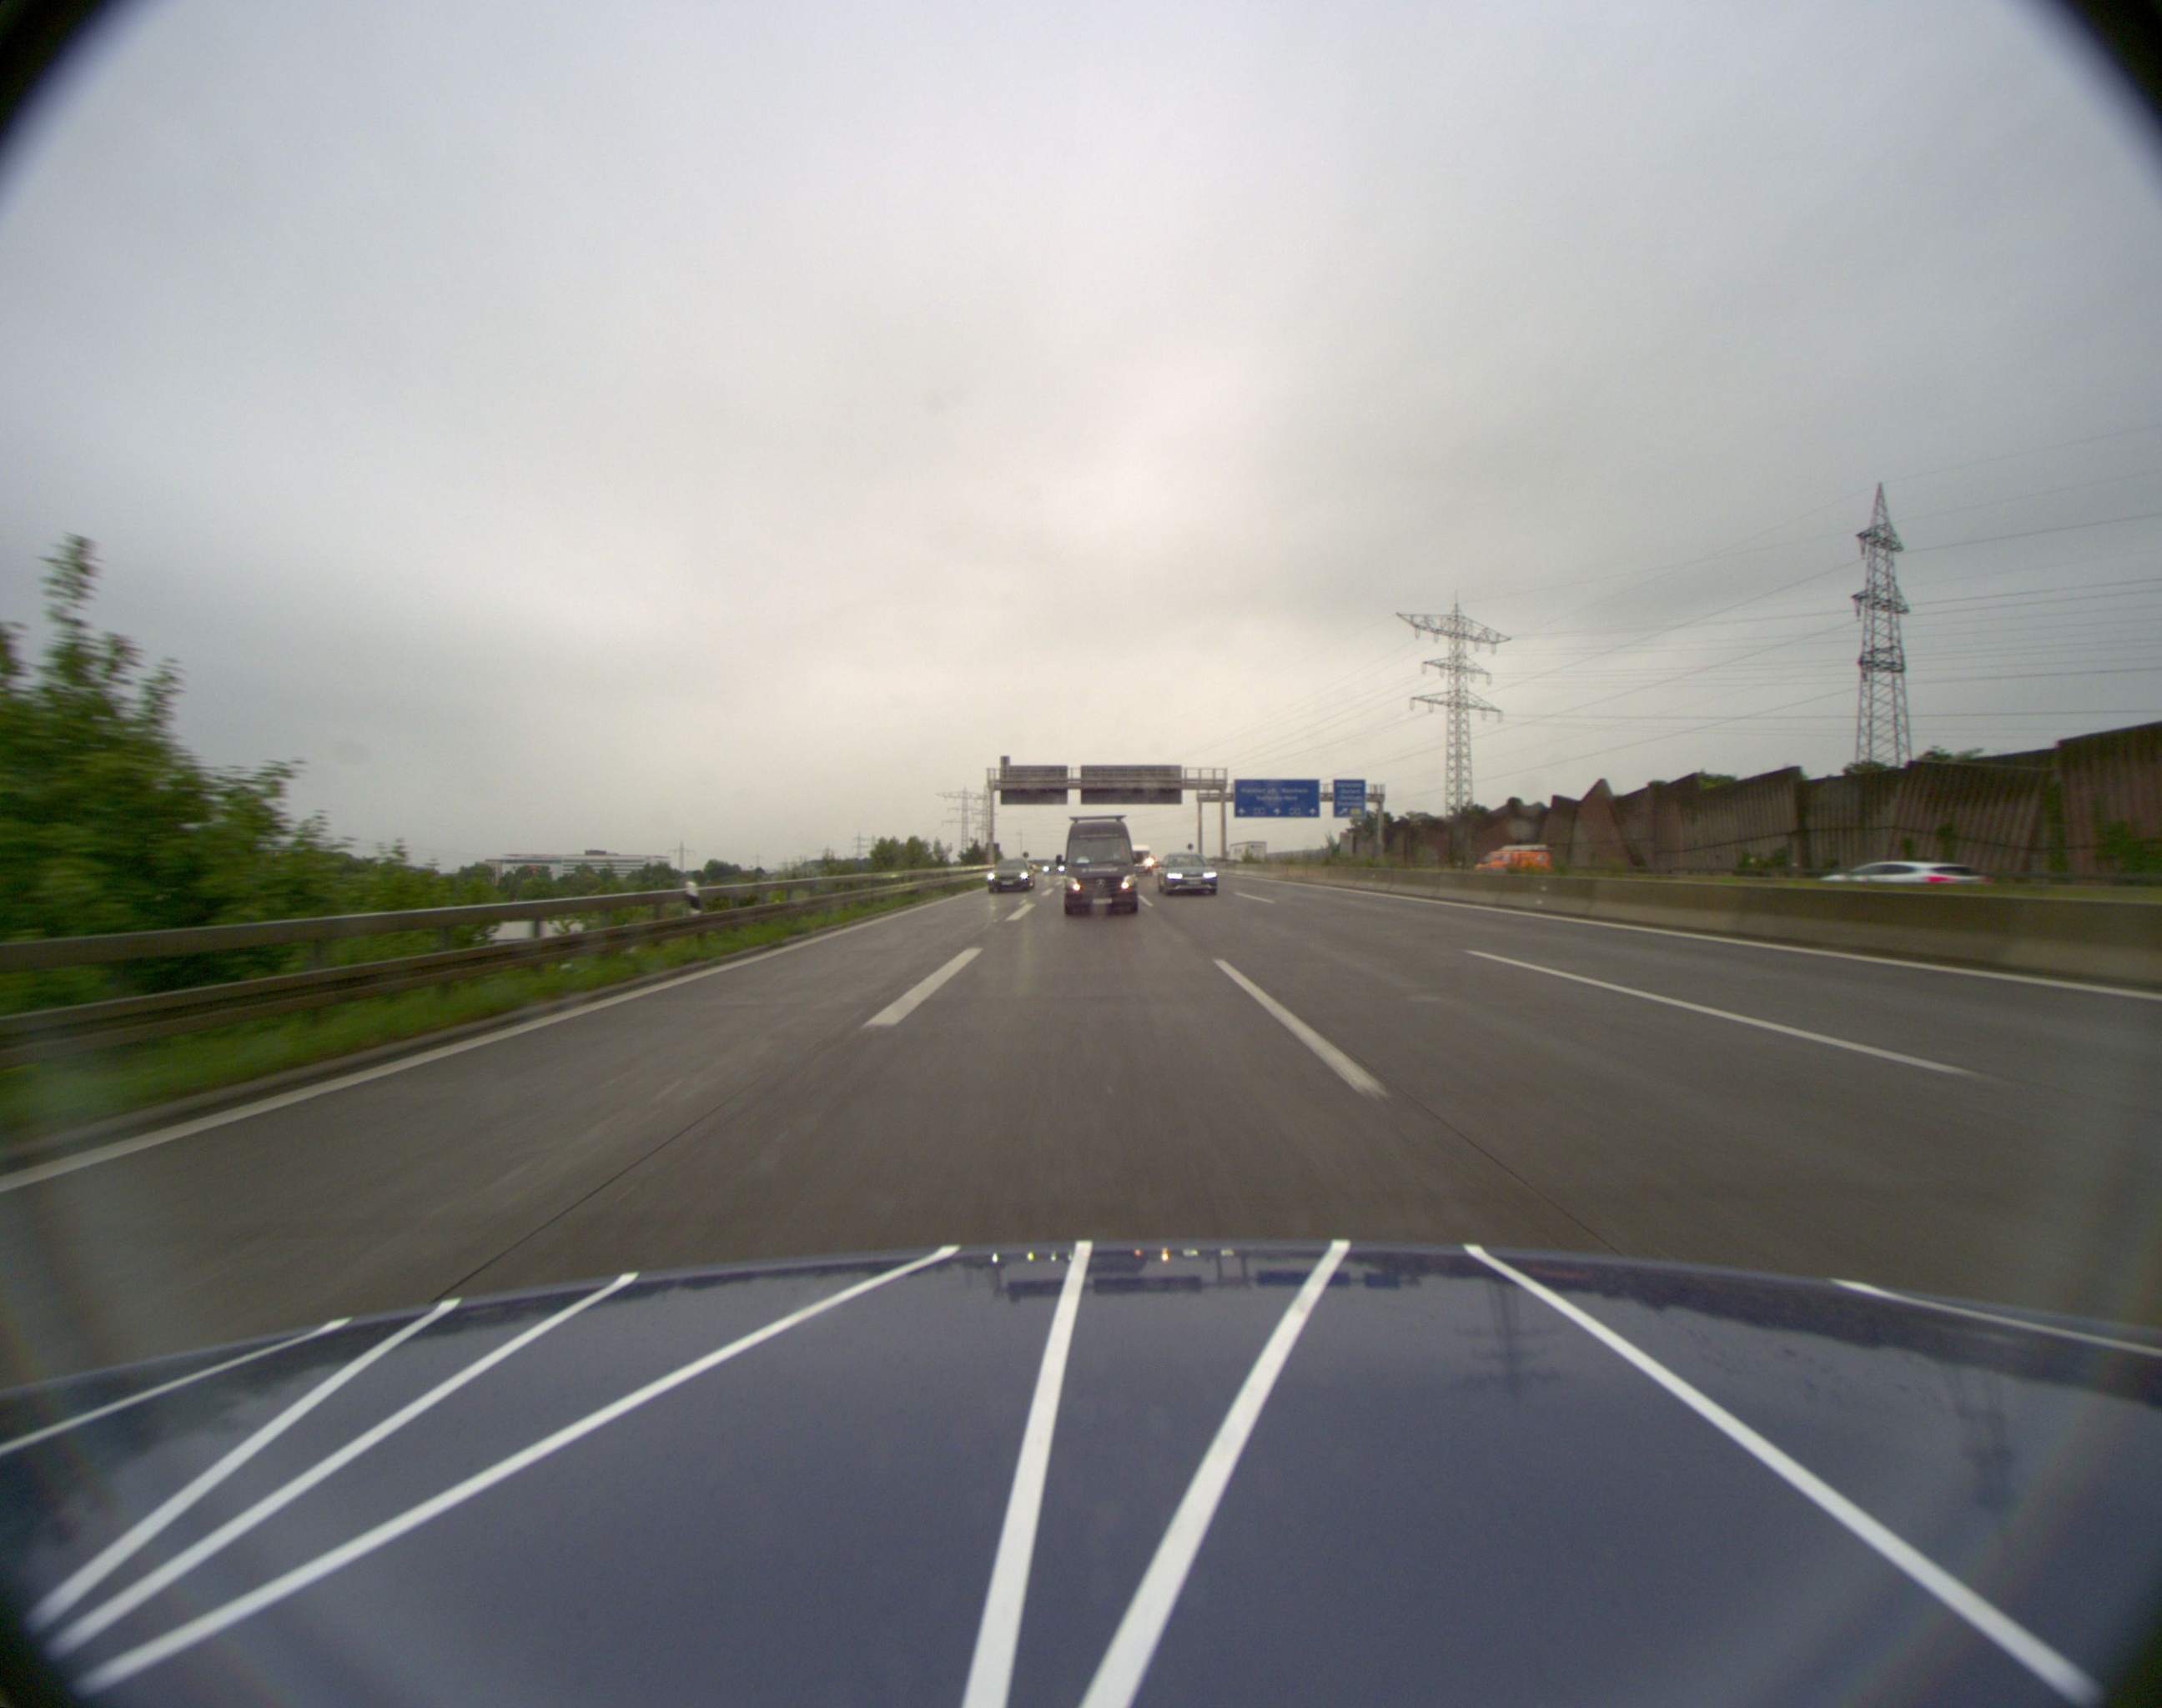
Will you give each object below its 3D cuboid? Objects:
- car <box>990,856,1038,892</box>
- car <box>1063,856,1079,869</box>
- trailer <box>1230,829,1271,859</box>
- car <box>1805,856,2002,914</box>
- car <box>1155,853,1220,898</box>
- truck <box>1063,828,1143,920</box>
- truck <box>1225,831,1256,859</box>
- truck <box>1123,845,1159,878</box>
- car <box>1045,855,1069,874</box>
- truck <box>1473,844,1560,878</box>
[{"bbox_3d":[-3.135,0.930,36.273,1.862,1.531,4.203,-2,-1,-1],"label":"car"},{"bbox_3d":[-1.337,1.092,100.202,1.998,1.706,4.000,1,0,0],"label":"car"},{"bbox_3d":[25.061,-1.366,113.186,3.064,4.161,13.570,-2,0,0],"label":"trailer"},{"bbox_3d":[27.595,0.980,25.753,1.998,1.729,4.398,-1,0,2],"label":"car"},{"bbox_3d":[4.120,0.780,30.140,1.843,1.585,5.156,-1,0,0],"label":"car"},{"bbox_3d":[0.496,0.503,22.328,1.999,2.324,6.110,-1,0,-1],"label":"truck"},{"bbox_3d":[25.103,-1.384,119.794,3.064,4.161,7.888,-2,0,0],"label":"truck"},{"bbox_3d":[4.795,0.575,61.921,2.243,2.464,6.582,-2,0,-1],"label":"truck"},{"bbox_3d":[-2.200,0.940,70.302,1.998,1.706,4.000,1,0,0],"label":"car"},{"bbox_3d":[23.912,0.352,41.981,1.998,1.729,5.016,-1,0,2],"label":"truck"}]
